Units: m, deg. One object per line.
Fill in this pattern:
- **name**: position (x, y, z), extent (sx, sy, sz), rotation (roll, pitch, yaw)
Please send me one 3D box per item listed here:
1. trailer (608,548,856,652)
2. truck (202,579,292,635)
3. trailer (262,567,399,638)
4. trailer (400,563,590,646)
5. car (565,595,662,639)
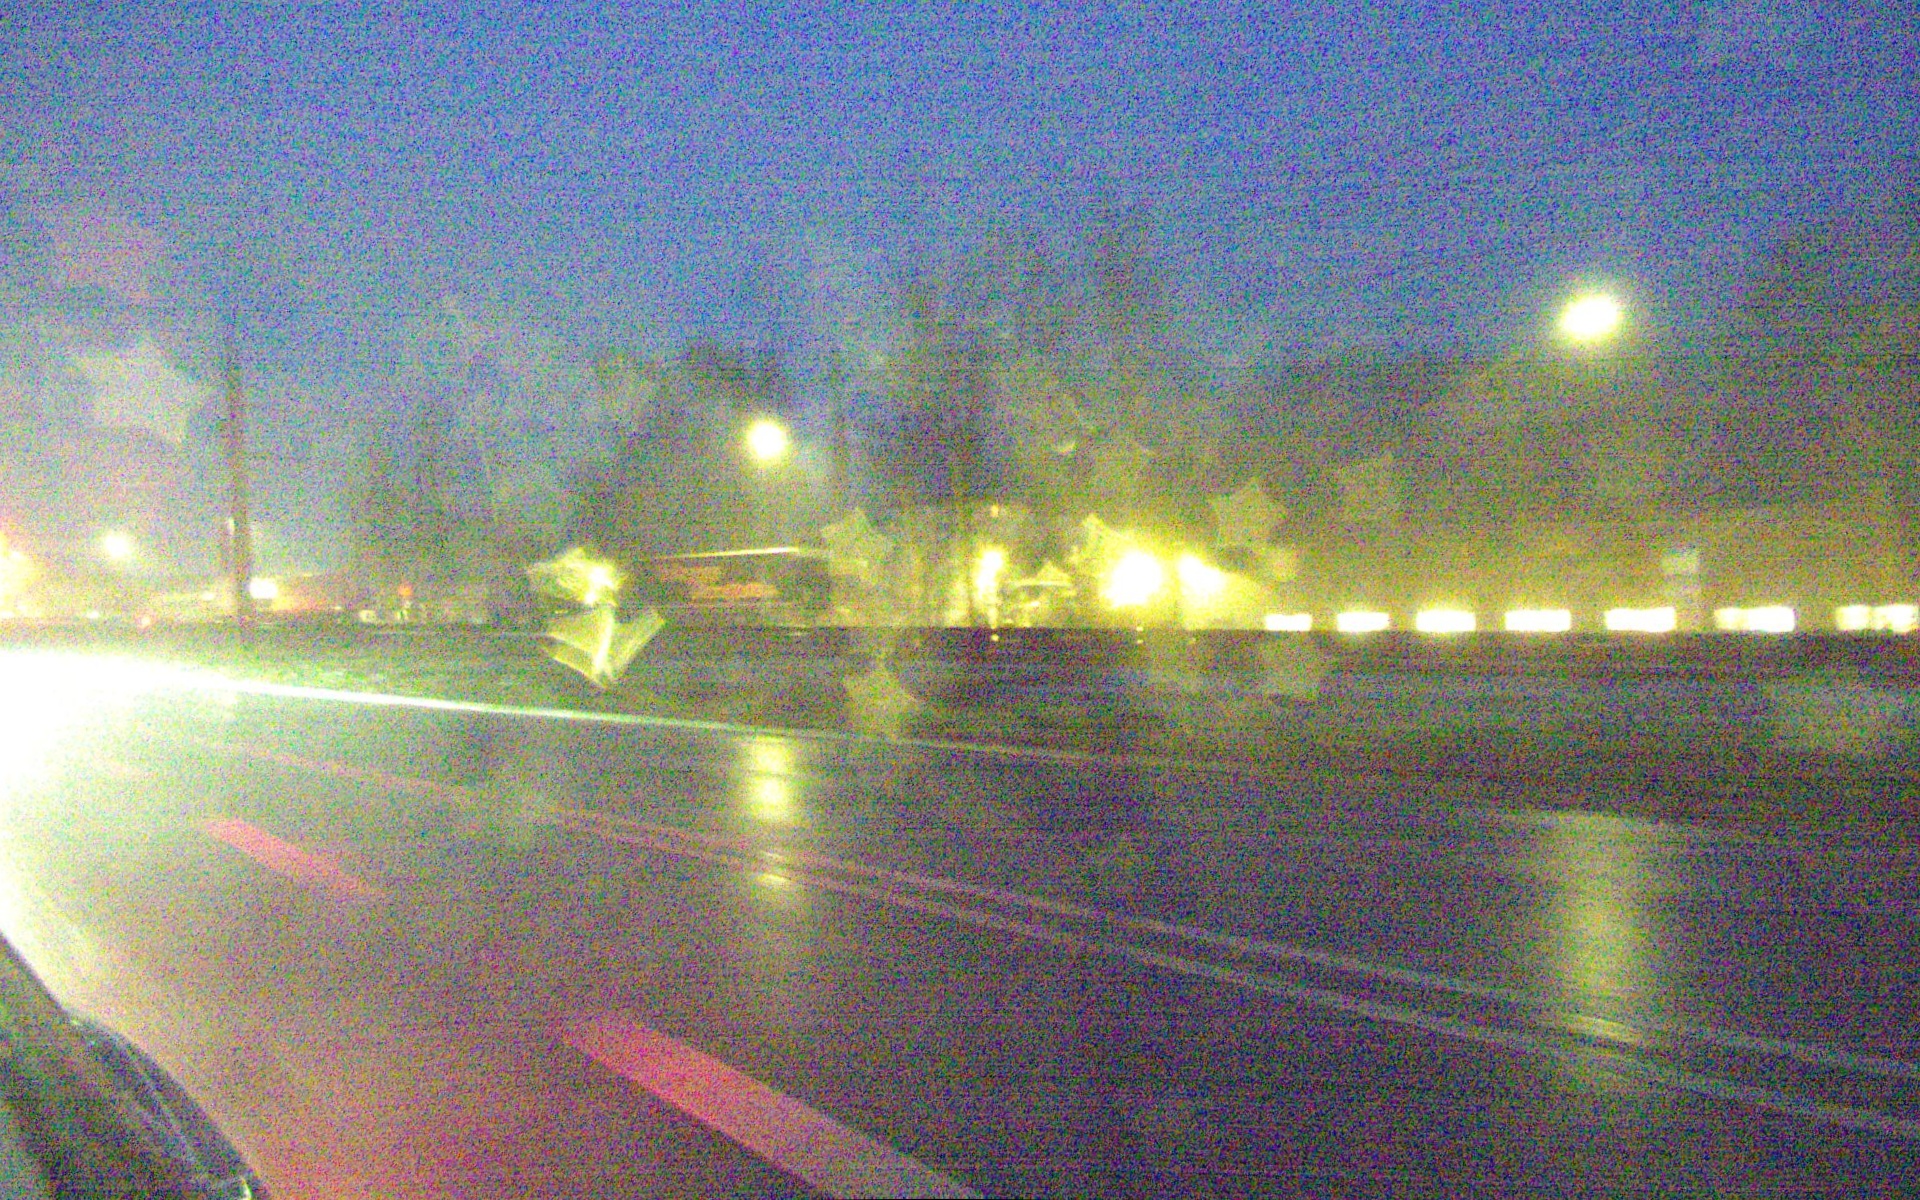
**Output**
- **trailer**: position (-11.987, -0.011, 51.784), extent (14.223, 4.643, 3.936), rotation (-1, 3, 37)
- **truck**: position (-64.088, 0.628, 90.875), extent (10.195, 4.643, 3.408), rotation (-1, 3, 37)
- **trailer**: position (-50.382, 0.205, 80.660), extent (14.810, 5.049, 3.936), rotation (-1, 3, 37)
- **trailer**: position (-29.907, 0.288, 64.510), extent (15.488, 4.643, 3.936), rotation (-1, 3, 37)
- **car**: position (-14.878, 0.740, 43.349), extent (4.210, 1.706, 1.771), rotation (-2, 1, 36)
